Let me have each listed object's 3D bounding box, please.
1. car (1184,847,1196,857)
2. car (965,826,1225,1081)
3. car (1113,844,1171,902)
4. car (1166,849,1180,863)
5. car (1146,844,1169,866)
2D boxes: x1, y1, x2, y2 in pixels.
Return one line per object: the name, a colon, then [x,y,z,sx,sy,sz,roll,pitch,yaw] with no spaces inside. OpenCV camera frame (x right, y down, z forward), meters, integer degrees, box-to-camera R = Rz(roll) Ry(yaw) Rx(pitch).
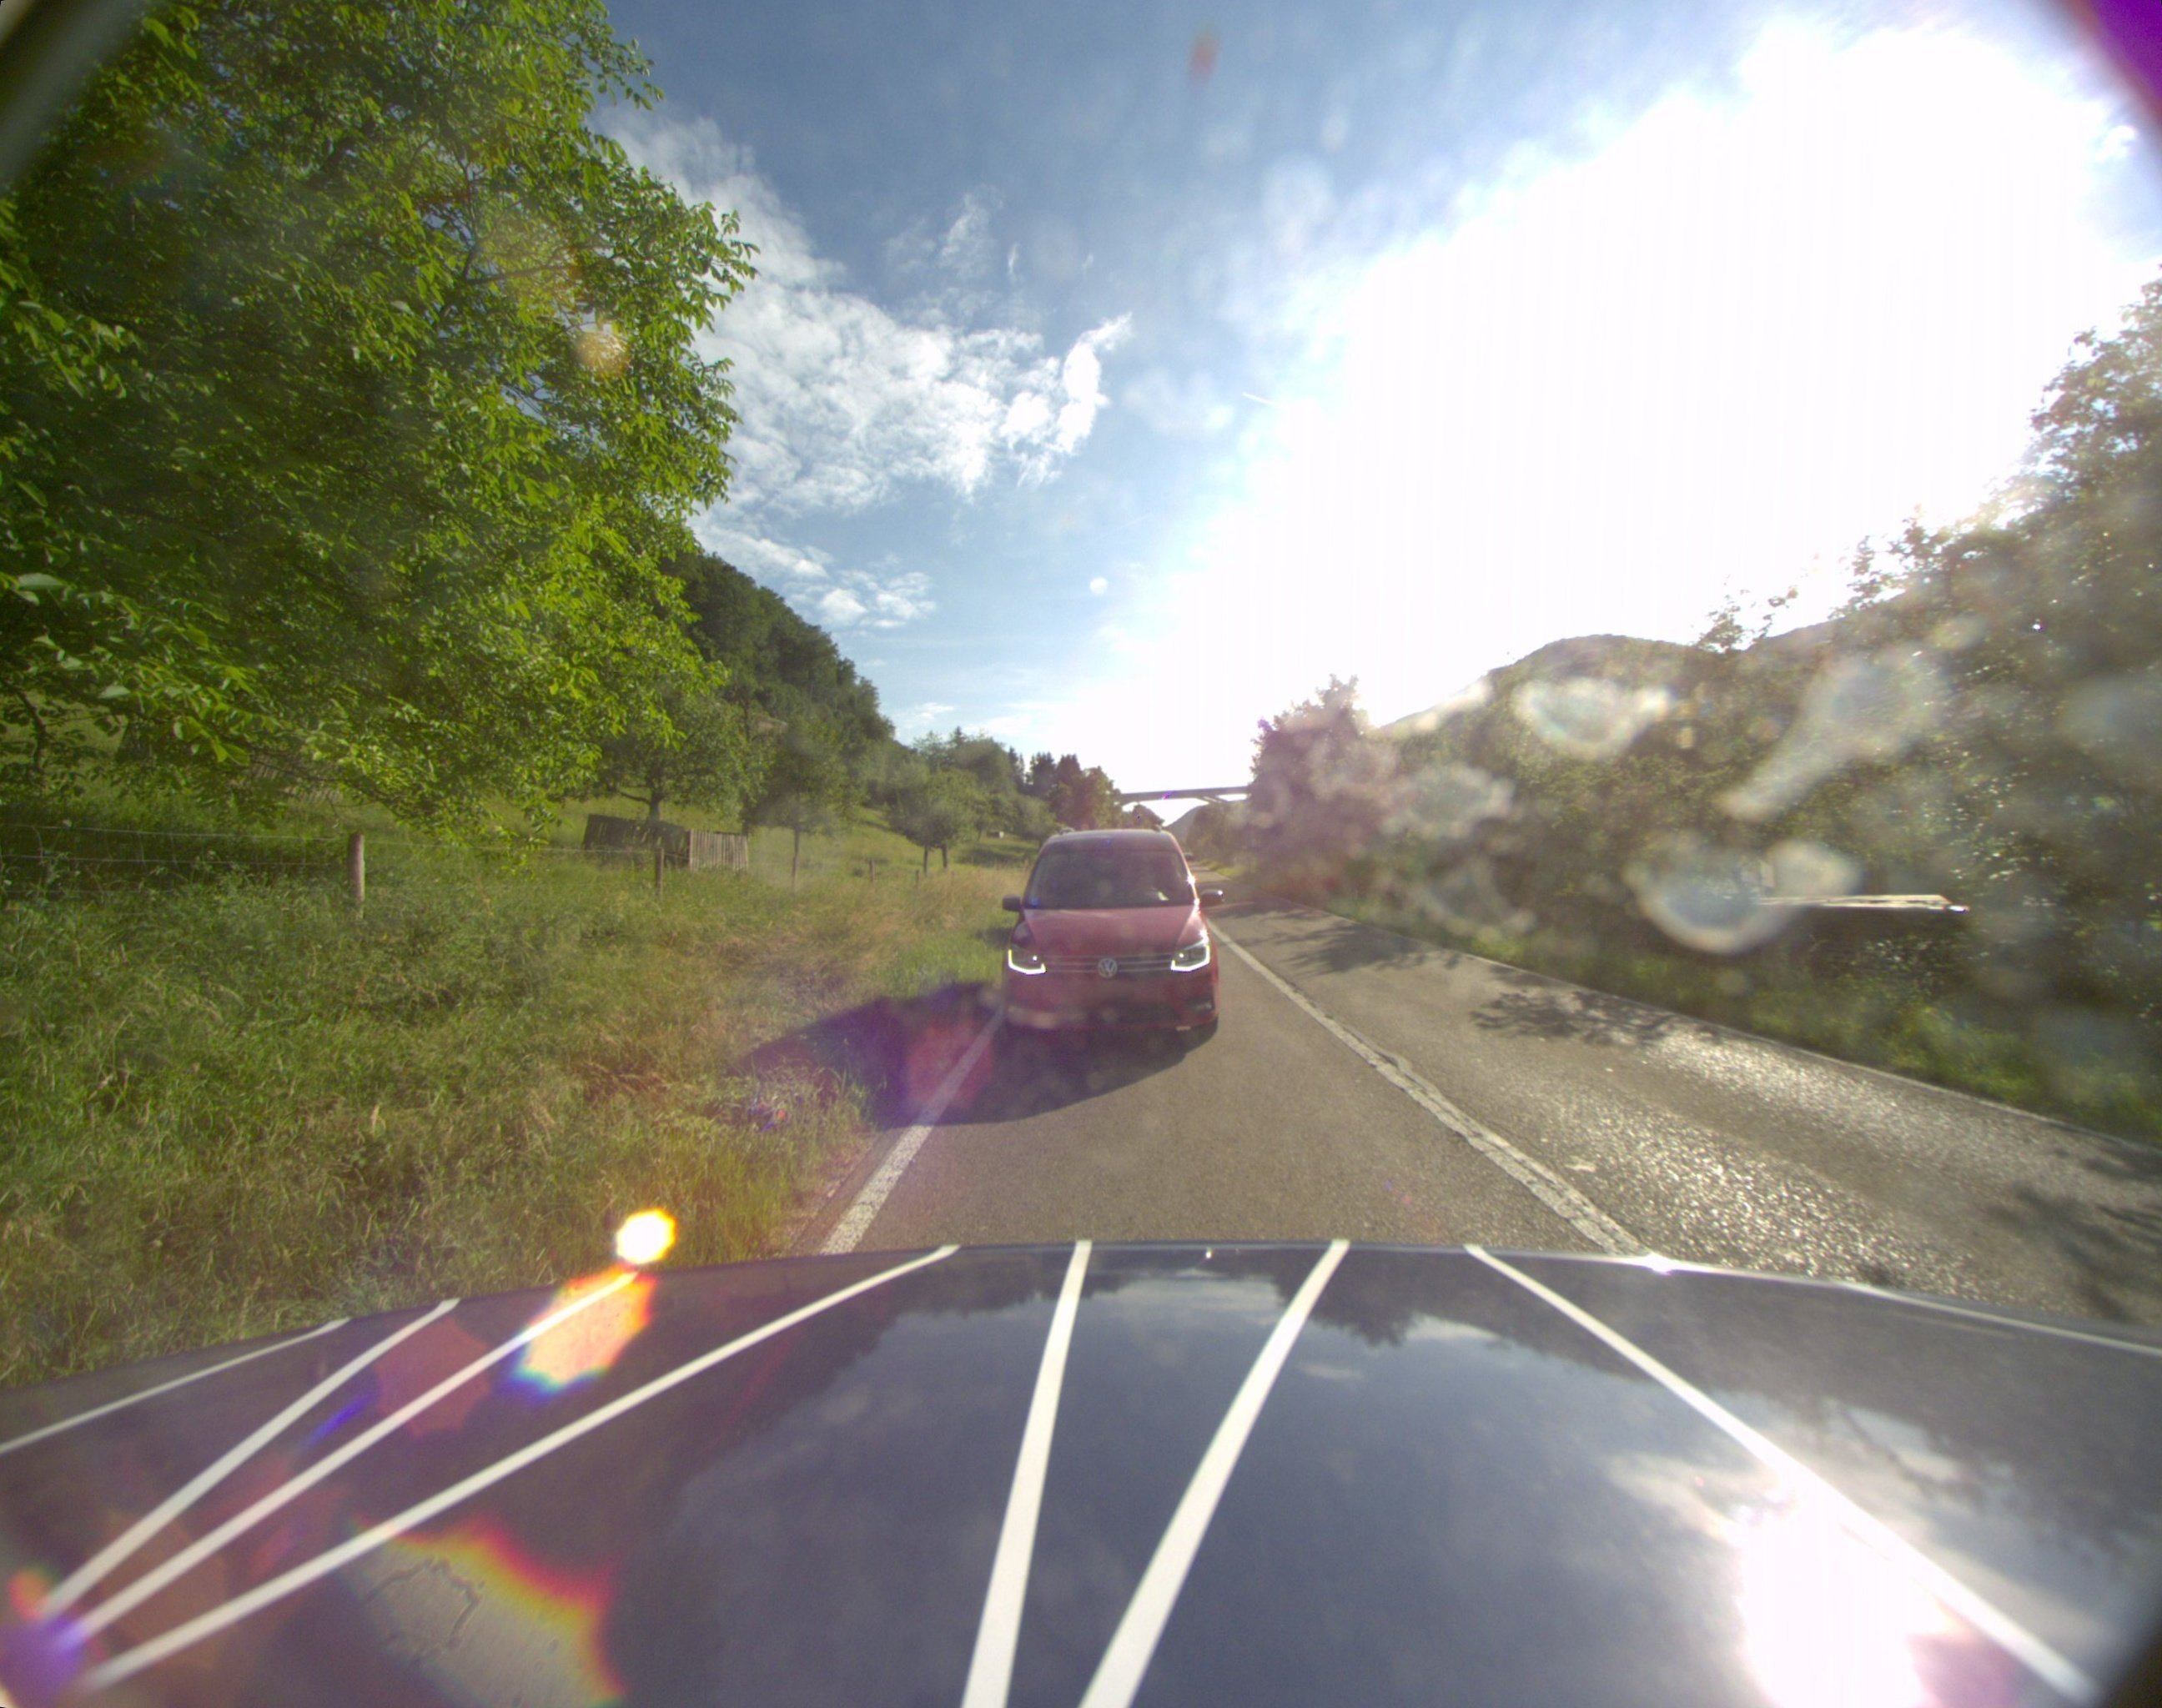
car: [15.768,-0.360,109.860,1.597,1.346,4.205,-2,1,7]
car: [0.252,0.676,7.532,1.758,1.745,4.430,-2,1,4]
car: [2.074,0.574,25.891,1.758,1.745,4.001,-2,1,5]
car: [14.465,0.301,120.029,1.998,2.002,4.001,-2,1,6]
car: [7.509,0.069,74.995,1.998,2.002,4.000,-2,1,4]
